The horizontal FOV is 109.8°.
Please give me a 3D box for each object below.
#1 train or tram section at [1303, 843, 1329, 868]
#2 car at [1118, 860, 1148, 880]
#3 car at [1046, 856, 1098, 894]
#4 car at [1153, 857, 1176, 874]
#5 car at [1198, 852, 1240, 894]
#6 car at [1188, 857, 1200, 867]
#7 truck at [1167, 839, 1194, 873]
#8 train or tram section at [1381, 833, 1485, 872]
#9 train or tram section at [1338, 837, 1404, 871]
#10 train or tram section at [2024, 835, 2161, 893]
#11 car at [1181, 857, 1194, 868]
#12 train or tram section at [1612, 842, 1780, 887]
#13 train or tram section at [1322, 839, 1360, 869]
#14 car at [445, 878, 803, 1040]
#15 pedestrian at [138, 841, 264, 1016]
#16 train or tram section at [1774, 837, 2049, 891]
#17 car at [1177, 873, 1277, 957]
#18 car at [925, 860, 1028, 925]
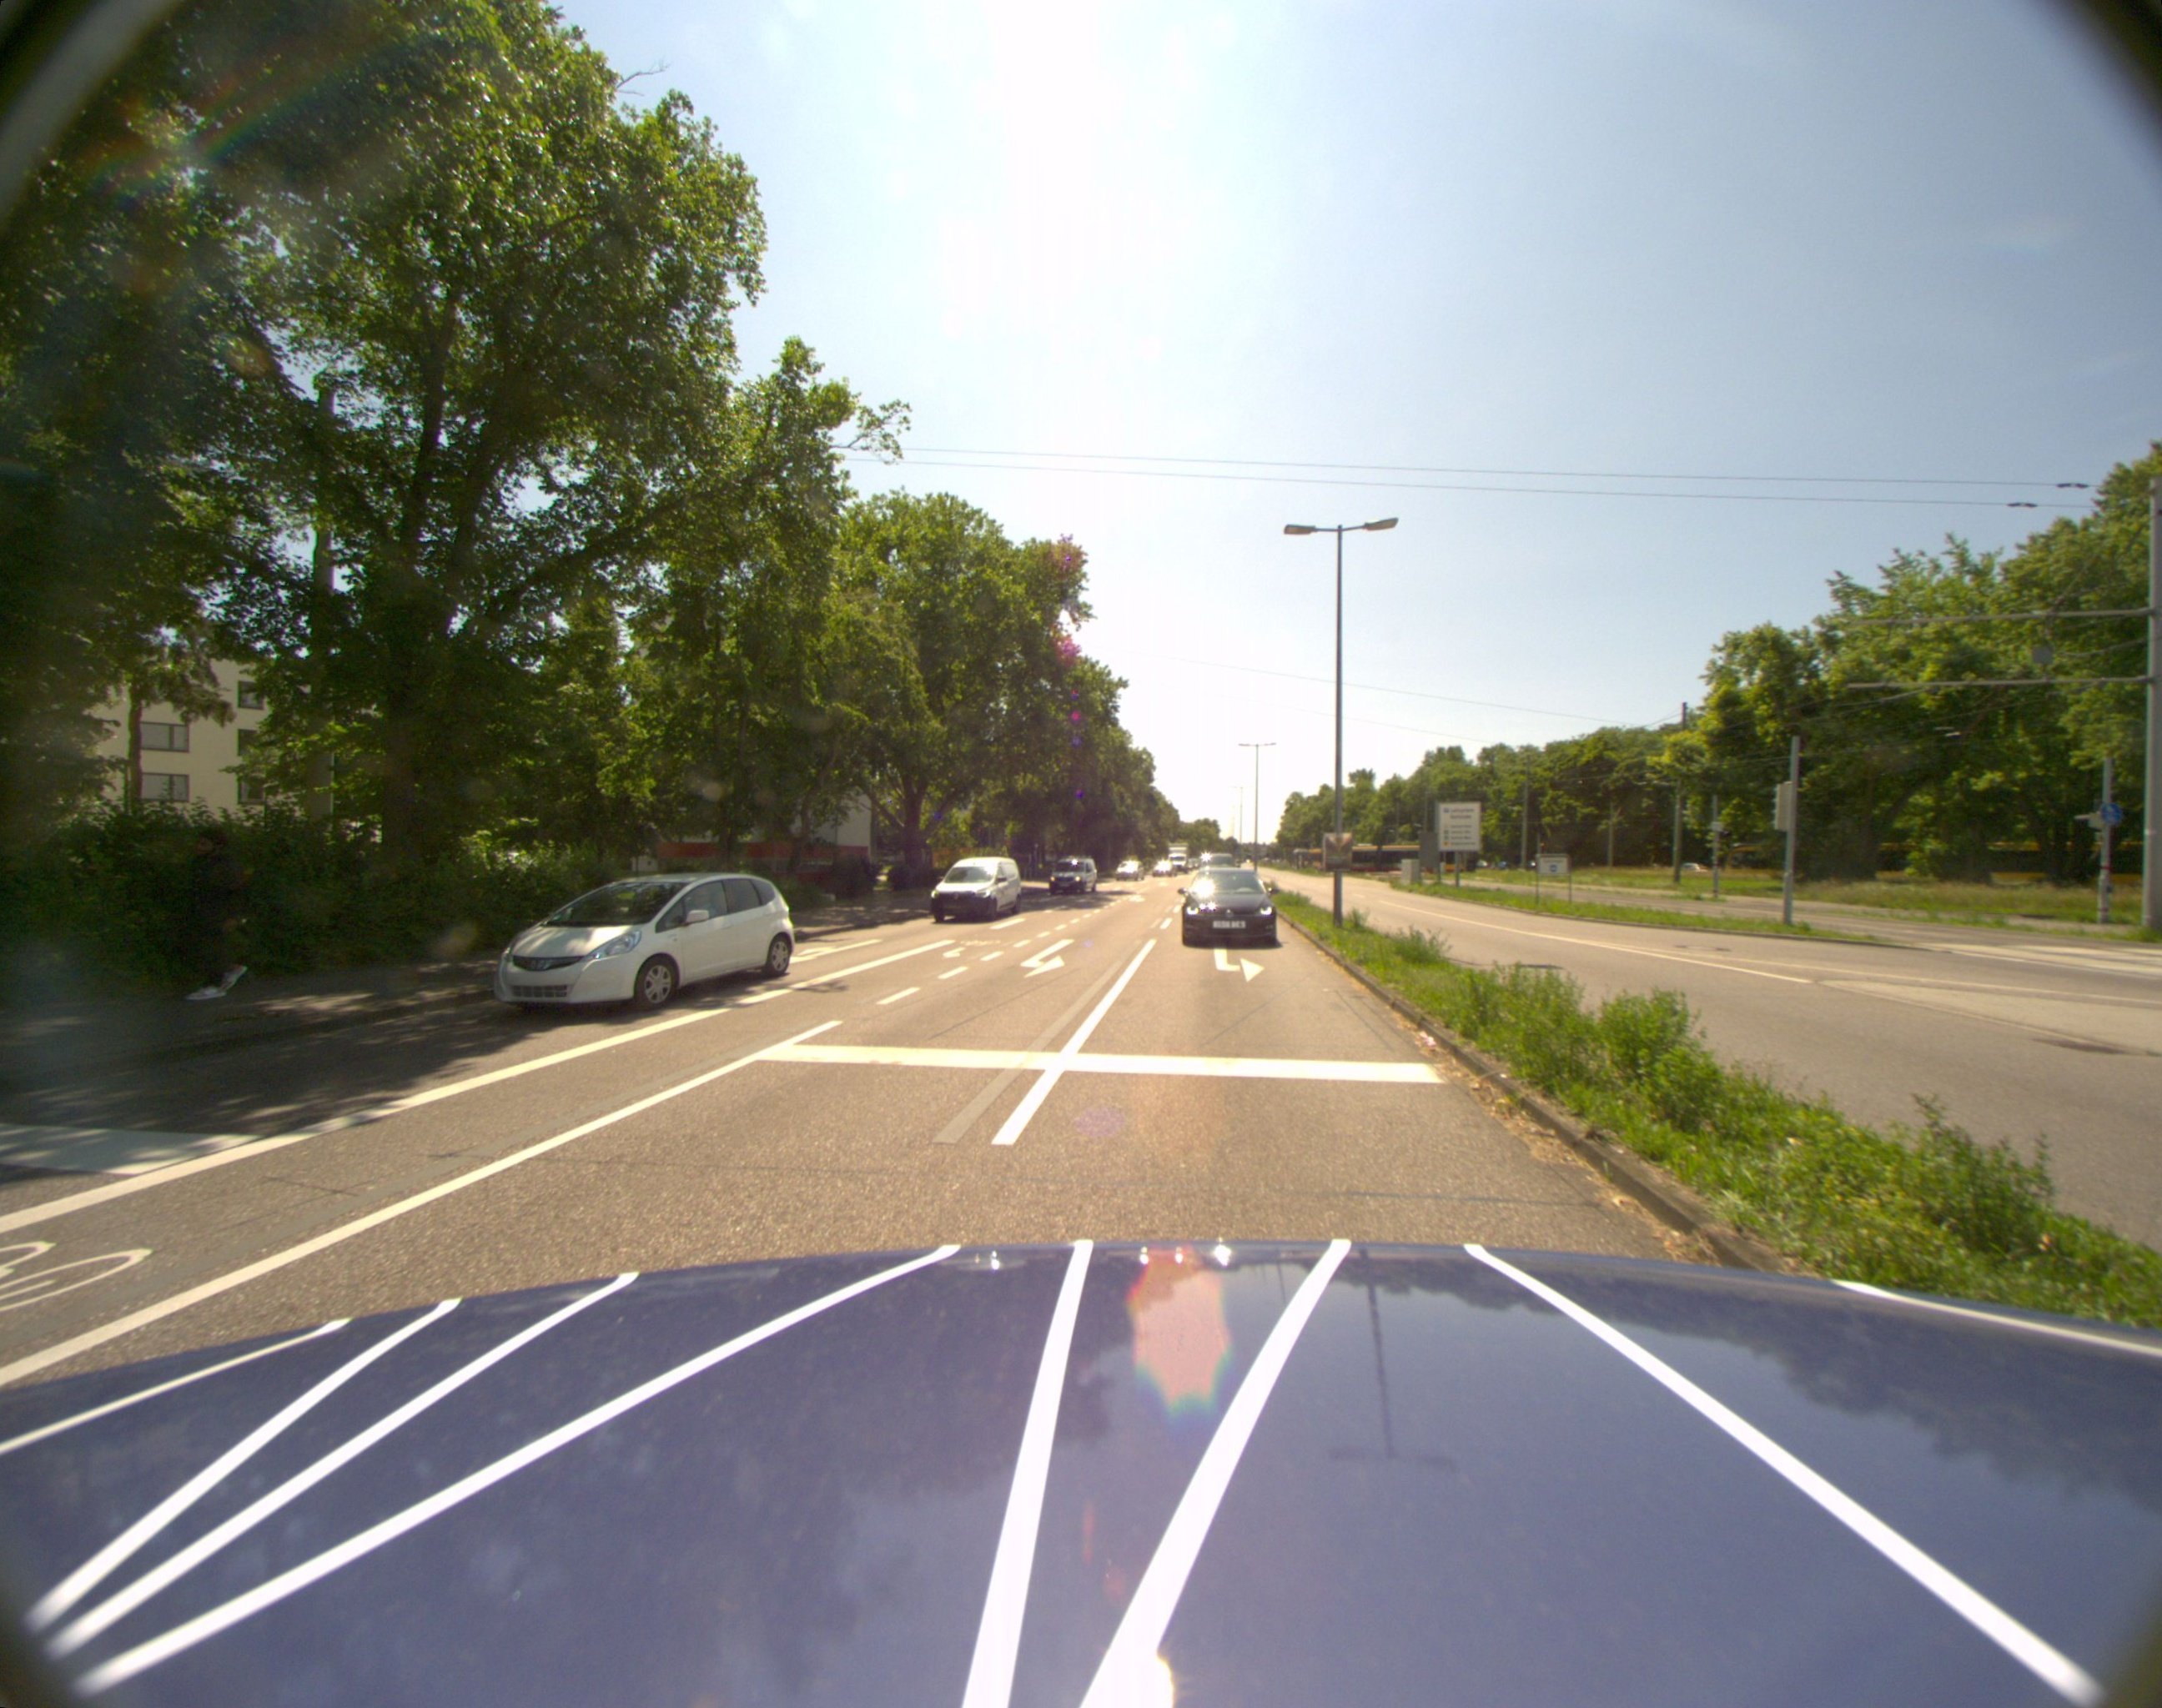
[{"bbox_3d":[42.602,0.312,137.933,3.021,4.229,12.762,-1,-1,10],"label":"train or tram section"},{"bbox_3d":[4.049,1.187,58.774,1.846,1.417,4.218,0,0,10],"label":"car"},{"bbox_3d":[-0.396,1.014,38.654,1.894,1.782,4.395,-2,0,8],"label":"car"},{"bbox_3d":[7.804,1.055,70.642,1.846,1.417,4.218,0,0,10],"label":"car"},{"bbox_3d":[6.993,0.881,38.336,1.939,1.920,4.850,1,0,11],"label":"car"},{"bbox_3d":[16.212,1.145,109.141,1.603,1.279,3.647,-2,0,8],"label":"car"},{"bbox_3d":[11.104,0.232,84.135,2.584,3.512,7.717,-2,0,10],"label":"truck"},{"bbox_3d":[40.643,-0.079,88.453,3.028,4.229,12.731,0,-1,-19],"label":"train or tram section"},{"bbox_3d":[38.057,0.061,100.424,3.025,4.229,12.746,0,-1,-5],"label":"train or tram section"},{"bbox_3d":[71.320,0.601,48.133,3.030,3.736,14.166,0,-1,-25],"label":"train or tram section"},{"bbox_3d":[13.794,1.055,98.362,1.603,1.279,3.647,-2,0,8],"label":"car"},{"bbox_3d":[54.505,0.990,67.766,11.409,3.736,3.033,-1,-1,40],"label":"train or tram section"},{"bbox_3d":[38.400,0.053,112.721,3.022,4.229,12.759,-1,-1,8],"label":"train or tram section"},{"bbox_3d":[-5.334,1.103,9.571,1.729,1.496,3.901,-1,0,10],"label":"car"},{"bbox_3d":[-9.608,0.780,8.316,0.607,1.824,0.679,1,1,8],"label":"pedestrian"},{"bbox_3d":[63.735,0.829,59.198,3.032,3.736,14.154,0,-1,-44],"label":"train or tram section"},{"bbox_3d":[2.998,1.122,15.350,1.707,1.396,4.058,0,-1,12],"label":"car"},{"bbox_3d":[-2.964,1.056,22.594,1.808,1.707,4.346,-1,0,10],"label":"car"}]
